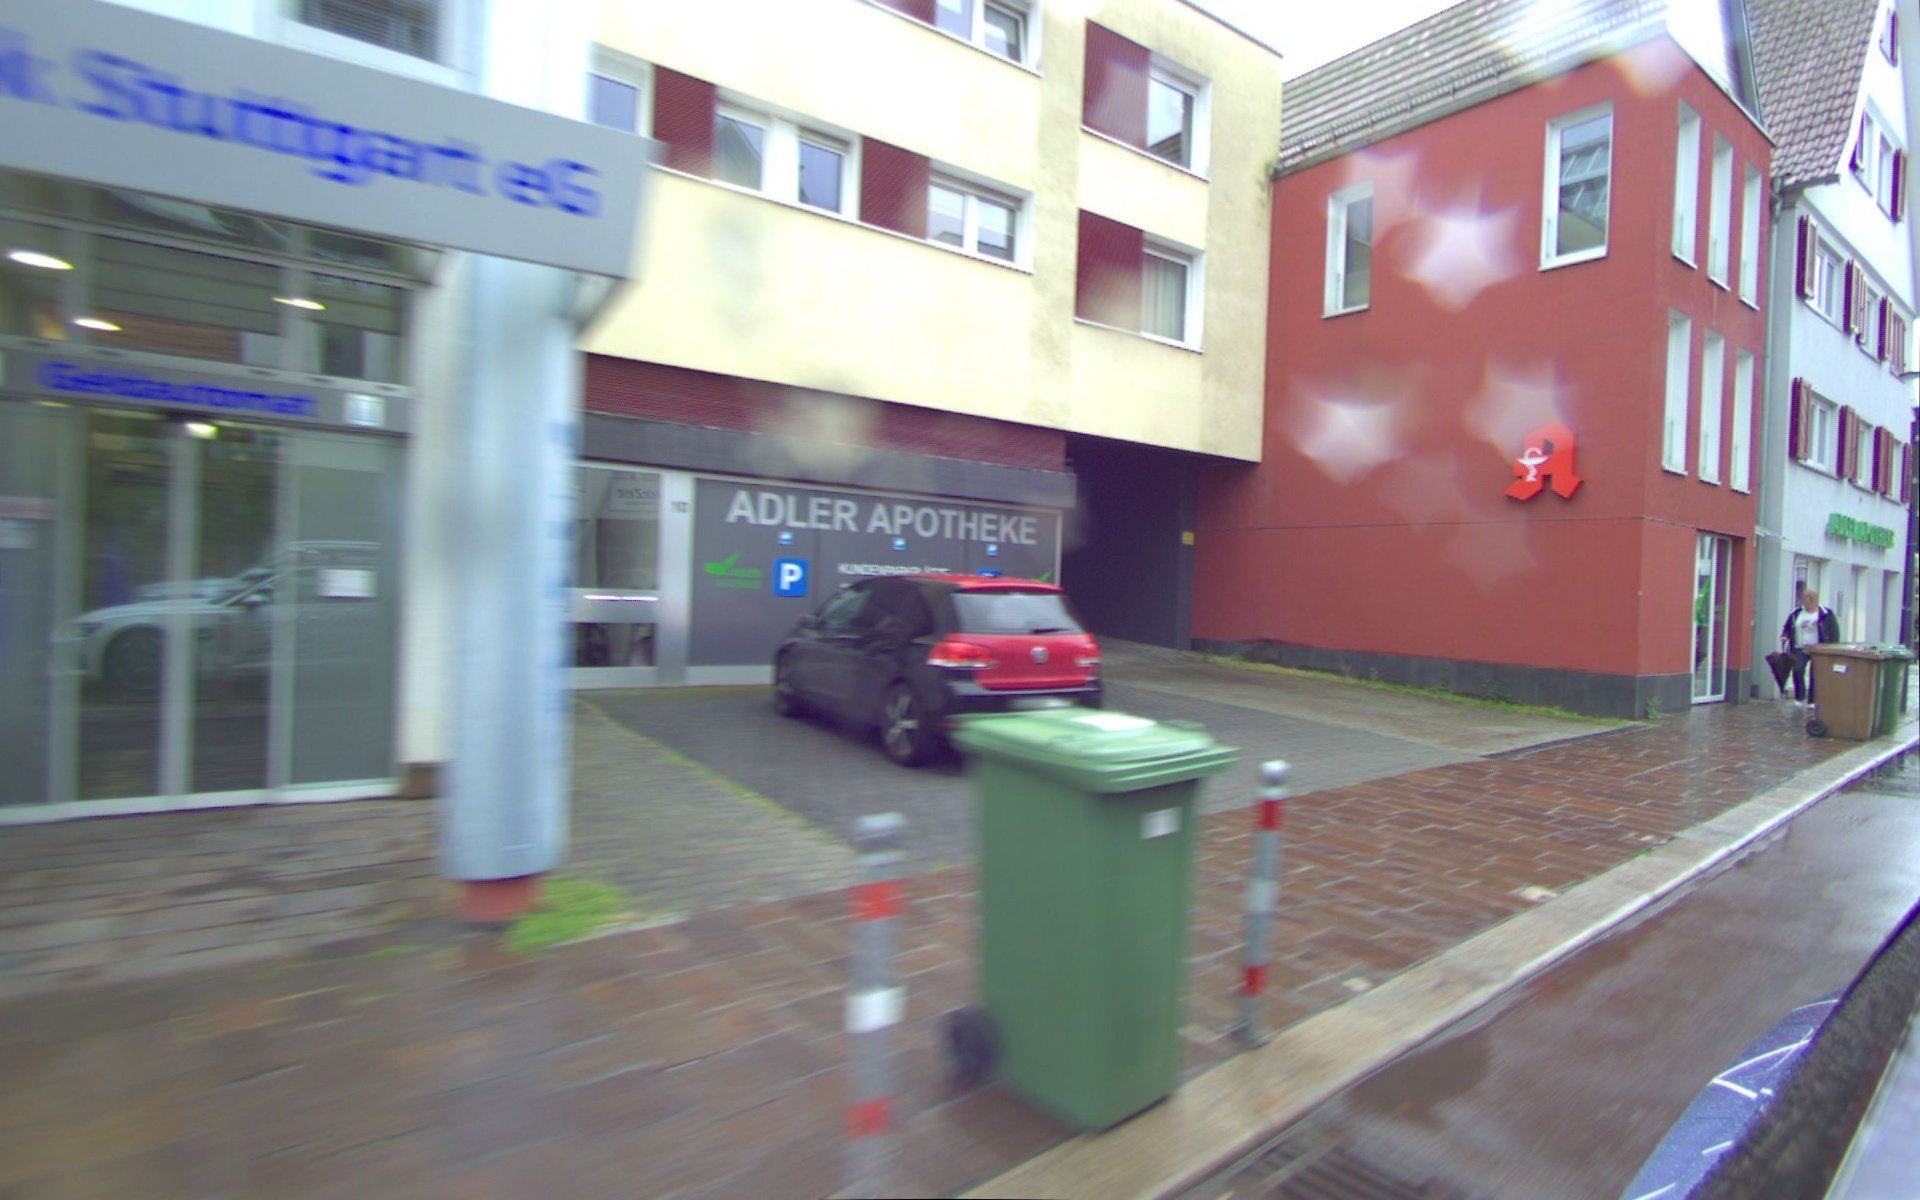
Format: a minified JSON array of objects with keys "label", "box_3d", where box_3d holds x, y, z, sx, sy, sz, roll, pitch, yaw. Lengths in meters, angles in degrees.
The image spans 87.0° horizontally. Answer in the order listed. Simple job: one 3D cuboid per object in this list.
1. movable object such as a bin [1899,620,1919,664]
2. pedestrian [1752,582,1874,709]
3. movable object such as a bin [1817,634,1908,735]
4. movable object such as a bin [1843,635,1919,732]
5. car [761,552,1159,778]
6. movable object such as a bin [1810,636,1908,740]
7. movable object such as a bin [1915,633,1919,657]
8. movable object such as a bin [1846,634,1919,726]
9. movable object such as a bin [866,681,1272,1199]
[{"label":"movable object such as a bin","box_3d":[24.882,1.093,26.373,0.539,1.069,0.502,-1,4,-41]},{"label":"pedestrian","box_3d":[12.545,0.626,14.894,1.158,1.718,1.179,1,2,-43]},{"label":"movable object such as a bin","box_3d":[10.838,0.991,12.160,0.603,1.108,0.712,1,1,-39]},{"label":"movable object such as a bin","box_3d":[11.437,1.008,12.497,0.685,1.097,0.678,1,1,-39]},{"label":"car","box_3d":[-0.247,0.382,9.329,1.873,1.533,4.006,0,3,-30]},{"label":"movable object such as a bin","box_3d":[10.357,0.990,11.663,0.635,1.095,0.731,1,1,-39]},{"label":"movable object such as a bin","box_3d":[35.397,1.672,37.078,0.546,0.846,0.895,5,2,44]},{"label":"movable object such as a bin","box_3d":[11.955,1.008,13.040,0.705,1.100,0.678,1,1,-39]},{"label":"movable object such as a bin","box_3d":[0.310,0.872,2.926,0.848,1.145,0.805,-1,2,-42]}]
